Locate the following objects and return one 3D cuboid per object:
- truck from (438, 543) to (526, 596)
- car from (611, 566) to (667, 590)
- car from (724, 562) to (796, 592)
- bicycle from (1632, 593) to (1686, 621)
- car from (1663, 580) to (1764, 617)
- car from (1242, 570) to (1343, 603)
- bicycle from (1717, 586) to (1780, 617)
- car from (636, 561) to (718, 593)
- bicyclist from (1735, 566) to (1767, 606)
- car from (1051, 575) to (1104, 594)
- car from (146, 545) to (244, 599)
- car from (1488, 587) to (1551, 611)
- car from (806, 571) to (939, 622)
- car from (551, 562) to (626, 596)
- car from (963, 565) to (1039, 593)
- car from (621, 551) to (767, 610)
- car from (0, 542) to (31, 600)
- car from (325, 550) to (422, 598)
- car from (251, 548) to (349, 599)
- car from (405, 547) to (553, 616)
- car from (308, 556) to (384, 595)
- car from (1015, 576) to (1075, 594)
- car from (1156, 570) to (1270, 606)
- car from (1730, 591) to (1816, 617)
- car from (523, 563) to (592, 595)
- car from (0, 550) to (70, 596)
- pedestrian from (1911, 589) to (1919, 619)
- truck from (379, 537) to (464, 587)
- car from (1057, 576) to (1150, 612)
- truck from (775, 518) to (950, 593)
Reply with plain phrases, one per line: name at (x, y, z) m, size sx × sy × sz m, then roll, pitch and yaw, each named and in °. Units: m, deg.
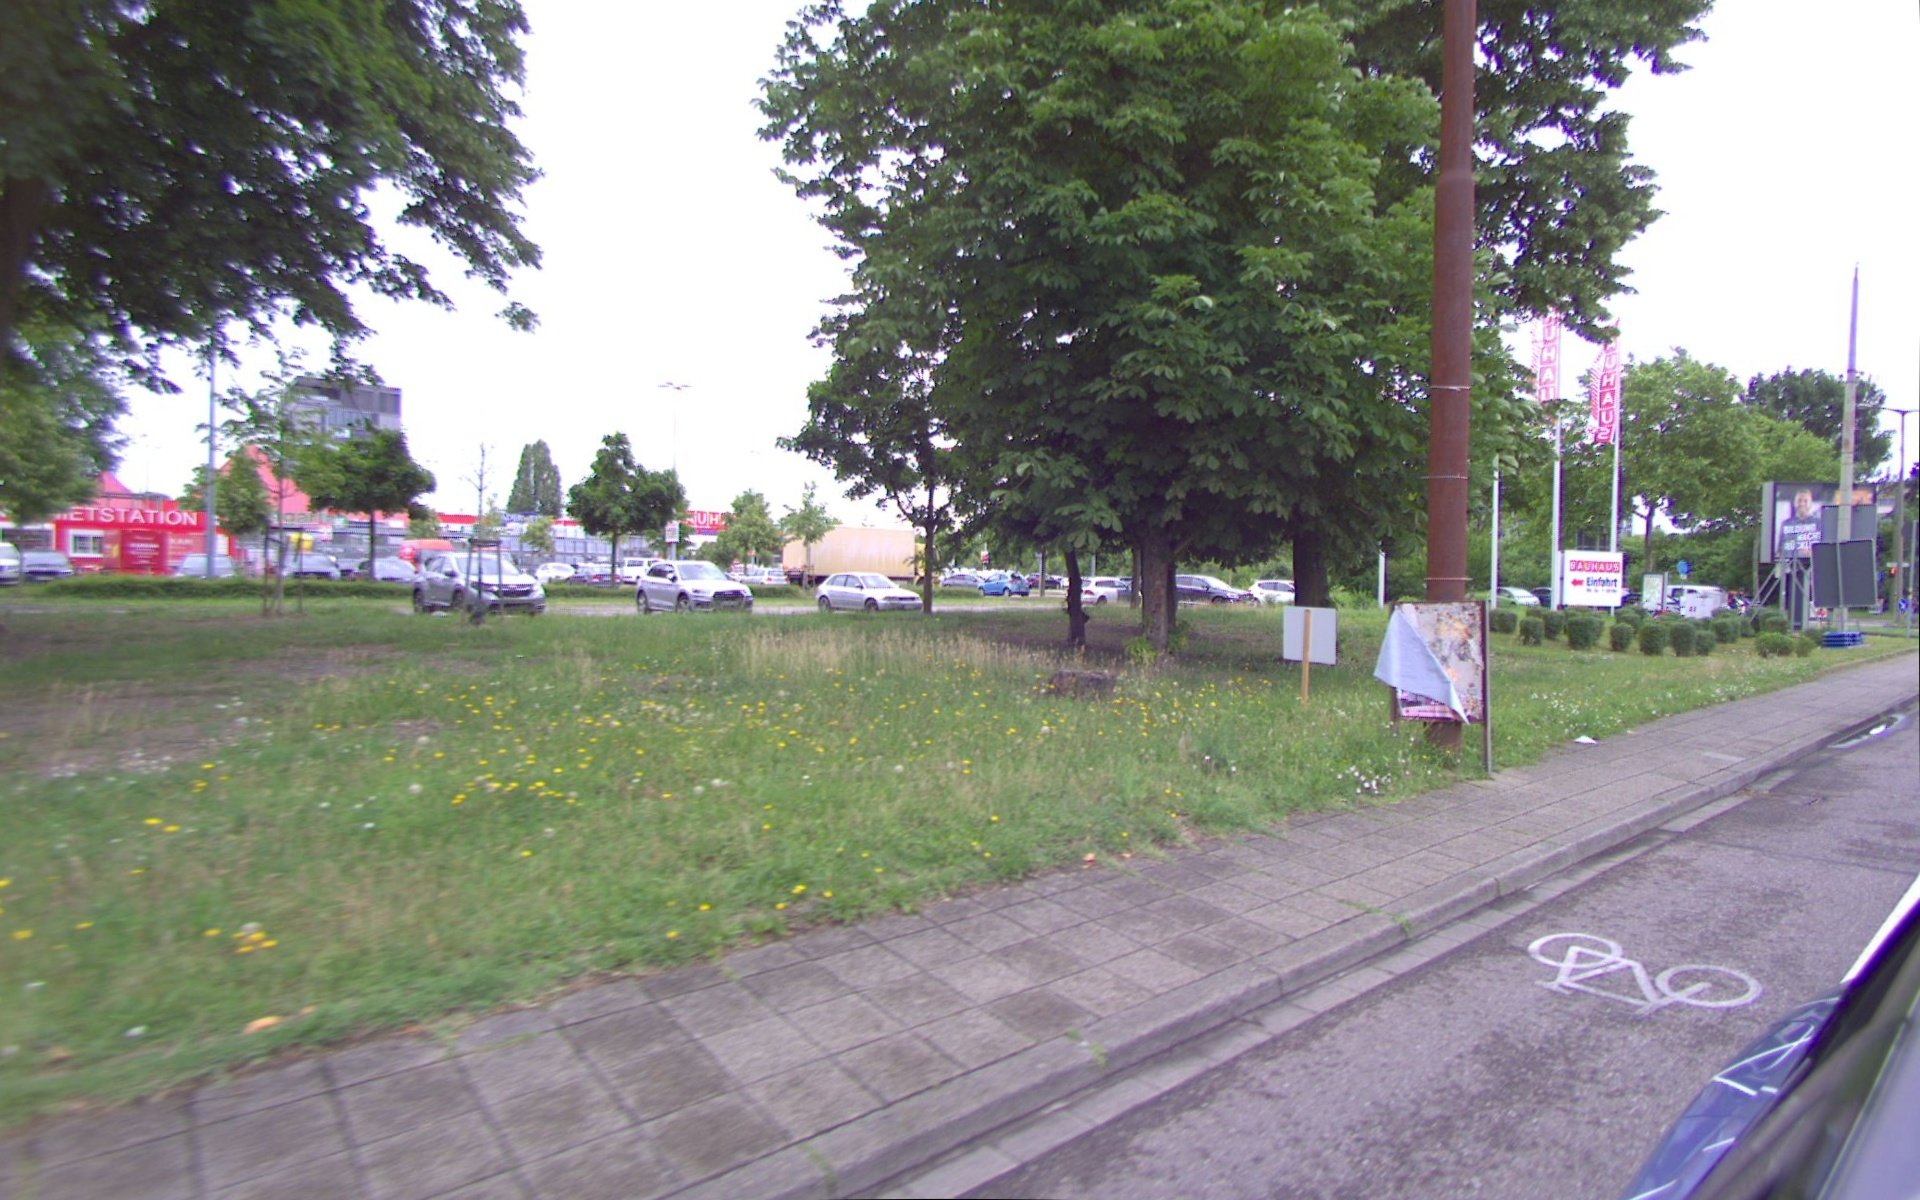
truck at (-27.718, -1.829, 58.493) m, size 2.442 × 2.850 × 7.871 m, roll 0°, pitch 2°, yaw -42°
car at (-23.750, -1.644, 74.741) m, size 2.120 × 1.697 × 4.557 m, roll 0°, pitch 2°, yaw -44°
car at (-12.341, -1.436, 62.338) m, size 4.555 × 1.697 × 2.121 m, roll 3°, pitch 2°, yaw 45°
bicycle at (29.449, 0.285, 42.643) m, size 1.780 × 1.131 × 0.487 m, roll 2°, pitch 1°, yaw 13°
car at (41.093, -0.120, 55.329) m, size 1.842 × 1.851 × 4.428 m, roll -1°, pitch 2°, yaw -7°
car at (15.861, -0.645, 48.359) m, size 1.899 × 1.516 × 4.225 m, roll -1°, pitch 0°, yaw -43°
bicycle at (31.158, 0.046, 40.004) m, size 0.570 × 1.163 × 1.899 m, roll 1°, pitch 2°, yaw -23°
car at (-16.264, -1.356, 58.080) m, size 4.537 × 1.697 × 2.129 m, roll 3°, pitch 2°, yaw 34°
bicyclist at (31.196, -0.555, 39.901) m, size 0.570 × 1.538 × 0.761 m, roll 1°, pitch 1°, yaw -23°
car at (13.105, -1.706, 112.832) m, size 5.618 × 1.917 × 2.156 m, roll 1°, pitch 2°, yaw 1°
car at (-26.059, -0.974, 34.405) m, size 2.120 × 1.697 × 4.557 m, roll 0°, pitch 2°, yaw -44°
car at (36.776, -0.084, 66.640) m, size 1.750 × 1.552 × 4.003 m, roll 0°, pitch 0°, yaw -4°
car at (-2.875, -0.112, 32.453) m, size 1.899 × 1.516 × 4.447 m, roll -1°, pitch 0°, yaw -44°
car at (-20.143, -1.130, 54.738) m, size 2.120 × 1.697 × 4.557 m, roll 0°, pitch 2°, yaw -44°
car at (2.390, -1.233, 59.969) m, size 1.951 × 1.525 × 4.565 m, roll 0°, pitch 2°, yaw -38°
car at (-7.533, -0.518, 28.375) m, size 2.133 × 1.516 × 4.682 m, roll -1°, pitch 1°, yaw -41°
car at (-30.081, -0.934, 31.101) m, size 2.120 × 1.697 × 4.557 m, roll 0°, pitch 2°, yaw -44°
car at (-22.121, -1.002, 38.124) m, size 2.120 × 1.697 × 4.557 m, roll 0°, pitch 2°, yaw -44°
car at (-23.797, -0.976, 36.409) m, size 2.120 × 1.697 × 4.557 m, roll 0°, pitch 2°, yaw -44°
car at (-11.682, -0.417, 24.444) m, size 1.927 × 1.516 × 4.534 m, roll -1°, pitch 1°, yaw -44°
car at (-28.555, -1.167, 47.008) m, size 2.120 × 1.697 × 4.558 m, roll 0°, pitch 2°, yaw -43°
car at (8.655, -1.544, 103.165) m, size 5.680 × 1.697 × 2.132 m, roll 2°, pitch 2°, yaw 31°
car at (11.118, -0.504, 44.681) m, size 1.899 × 1.516 × 4.602 m, roll -1°, pitch 0°, yaw -44°
car at (47.727, 0.229, 59.522) m, size 1.803 × 1.442 × 4.001 m, roll 1°, pitch 0°, yaw -1°
car at (-23.394, -1.237, 58.718) m, size 2.120 × 1.697 × 4.557 m, roll 0°, pitch 2°, yaw -44°
car at (-36.540, -1.080, 39.807) m, size 2.120 × 1.697 × 4.558 m, roll 0°, pitch 2°, yaw -43°
pedestrian at (54.091, 0.227, 56.780) m, size 0.731 × 1.660 × 0.777 m, roll 1°, pitch 1°, yaw 7°
truck at (-30.820, -2.204, 57.715) m, size 2.442 × 2.667 × 7.871 m, roll 0°, pitch 2°, yaw -42°
car at (7.035, -0.294, 49.494) m, size 4.424 × 1.691 × 1.998 m, roll -1°, pitch 0°, yaw -38°
truck at (-4.952, -2.215, 52.931) m, size 9.087 × 3.609 × 2.945 m, roll -1°, pitch 0°, yaw -40°
